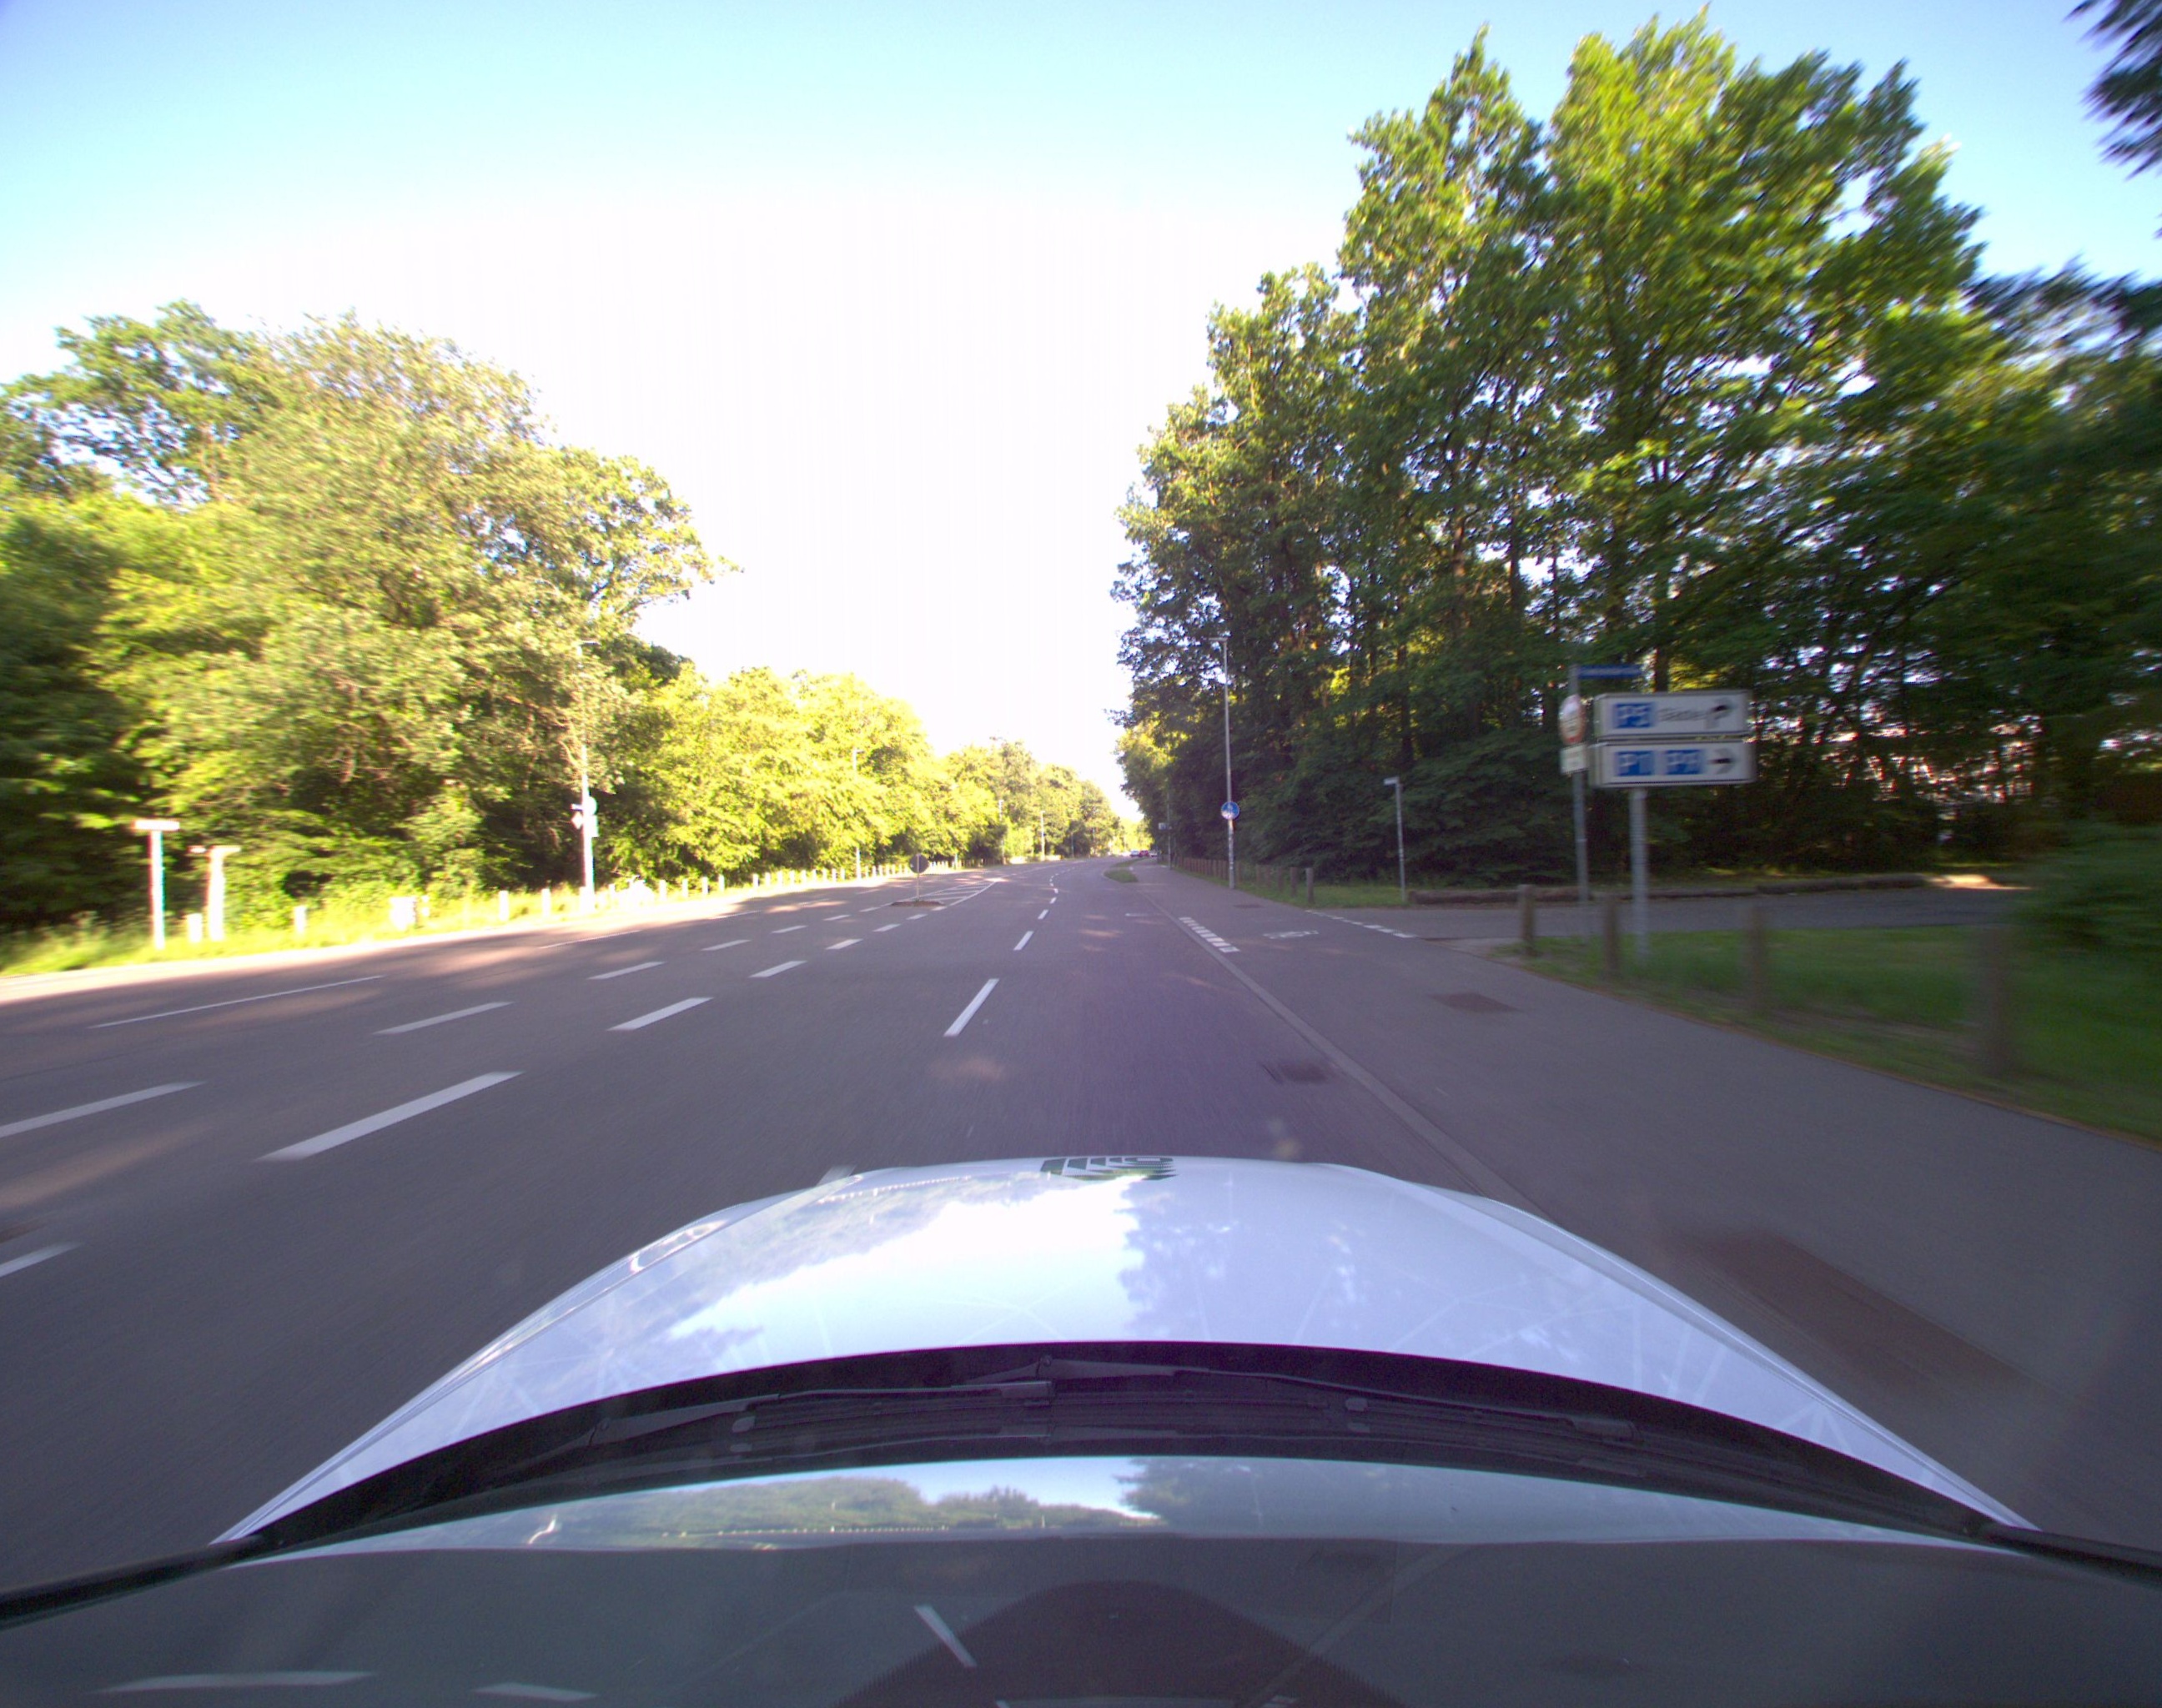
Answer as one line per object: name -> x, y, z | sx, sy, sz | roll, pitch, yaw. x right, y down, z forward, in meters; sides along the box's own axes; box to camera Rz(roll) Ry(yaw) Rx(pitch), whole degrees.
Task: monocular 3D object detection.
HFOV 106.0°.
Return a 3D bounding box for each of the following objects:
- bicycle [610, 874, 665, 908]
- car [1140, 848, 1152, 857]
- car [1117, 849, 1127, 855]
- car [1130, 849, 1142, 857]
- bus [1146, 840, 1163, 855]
bicycle -> -15.960, 1.312, 29.370 | 0.398, 1.132, 2.226 | 0, 0, 11
car -> 13.712, -0.334, 171.979 | 1.867, 1.765, 4.015 | -2, 0, 13
car -> 10.526, -0.525, 207.473 | 1.767, 1.408, 4.180 | -1, 1, 13
car -> 12.109, -0.276, 179.358 | 1.867, 1.709, 4.015 | -2, 0, 13
bus -> 17.102, -1.533, 188.922 | 2.587, 3.368, 8.004 | -1, 0, 13
